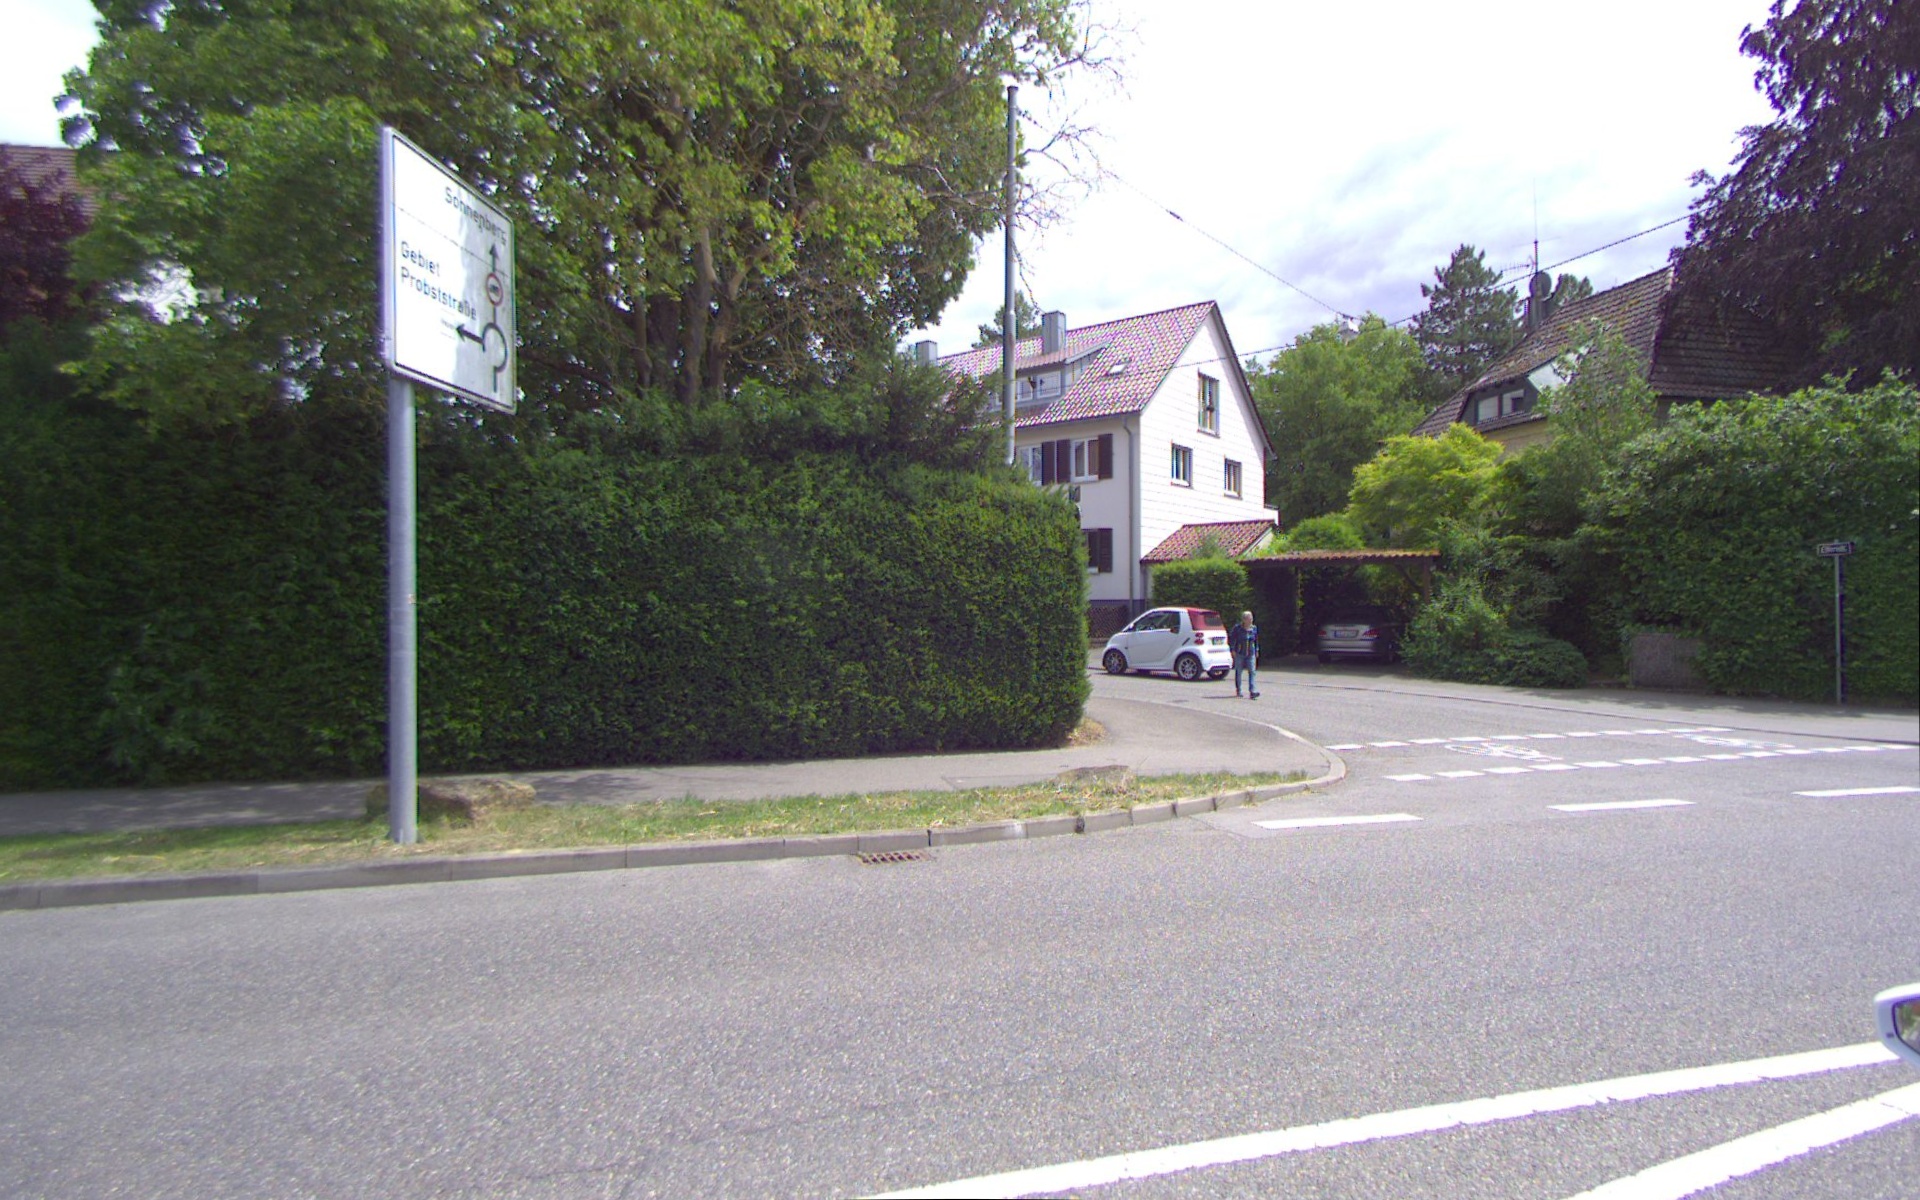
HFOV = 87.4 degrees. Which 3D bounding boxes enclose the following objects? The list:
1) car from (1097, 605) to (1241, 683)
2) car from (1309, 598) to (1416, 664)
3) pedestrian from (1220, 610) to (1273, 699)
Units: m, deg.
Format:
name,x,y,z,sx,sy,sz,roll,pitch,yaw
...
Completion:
name,x,y,z,sx,sy,sz,roll,pitch,yaw
car,4.650,0.933,22.444,2.737,1.576,1.582,1,0,41
car,10.319,0.732,25.585,1.700,1.530,3.987,1,0,35
pedestrian,5.104,0.949,17.893,0.720,1.529,0.625,1,0,39
